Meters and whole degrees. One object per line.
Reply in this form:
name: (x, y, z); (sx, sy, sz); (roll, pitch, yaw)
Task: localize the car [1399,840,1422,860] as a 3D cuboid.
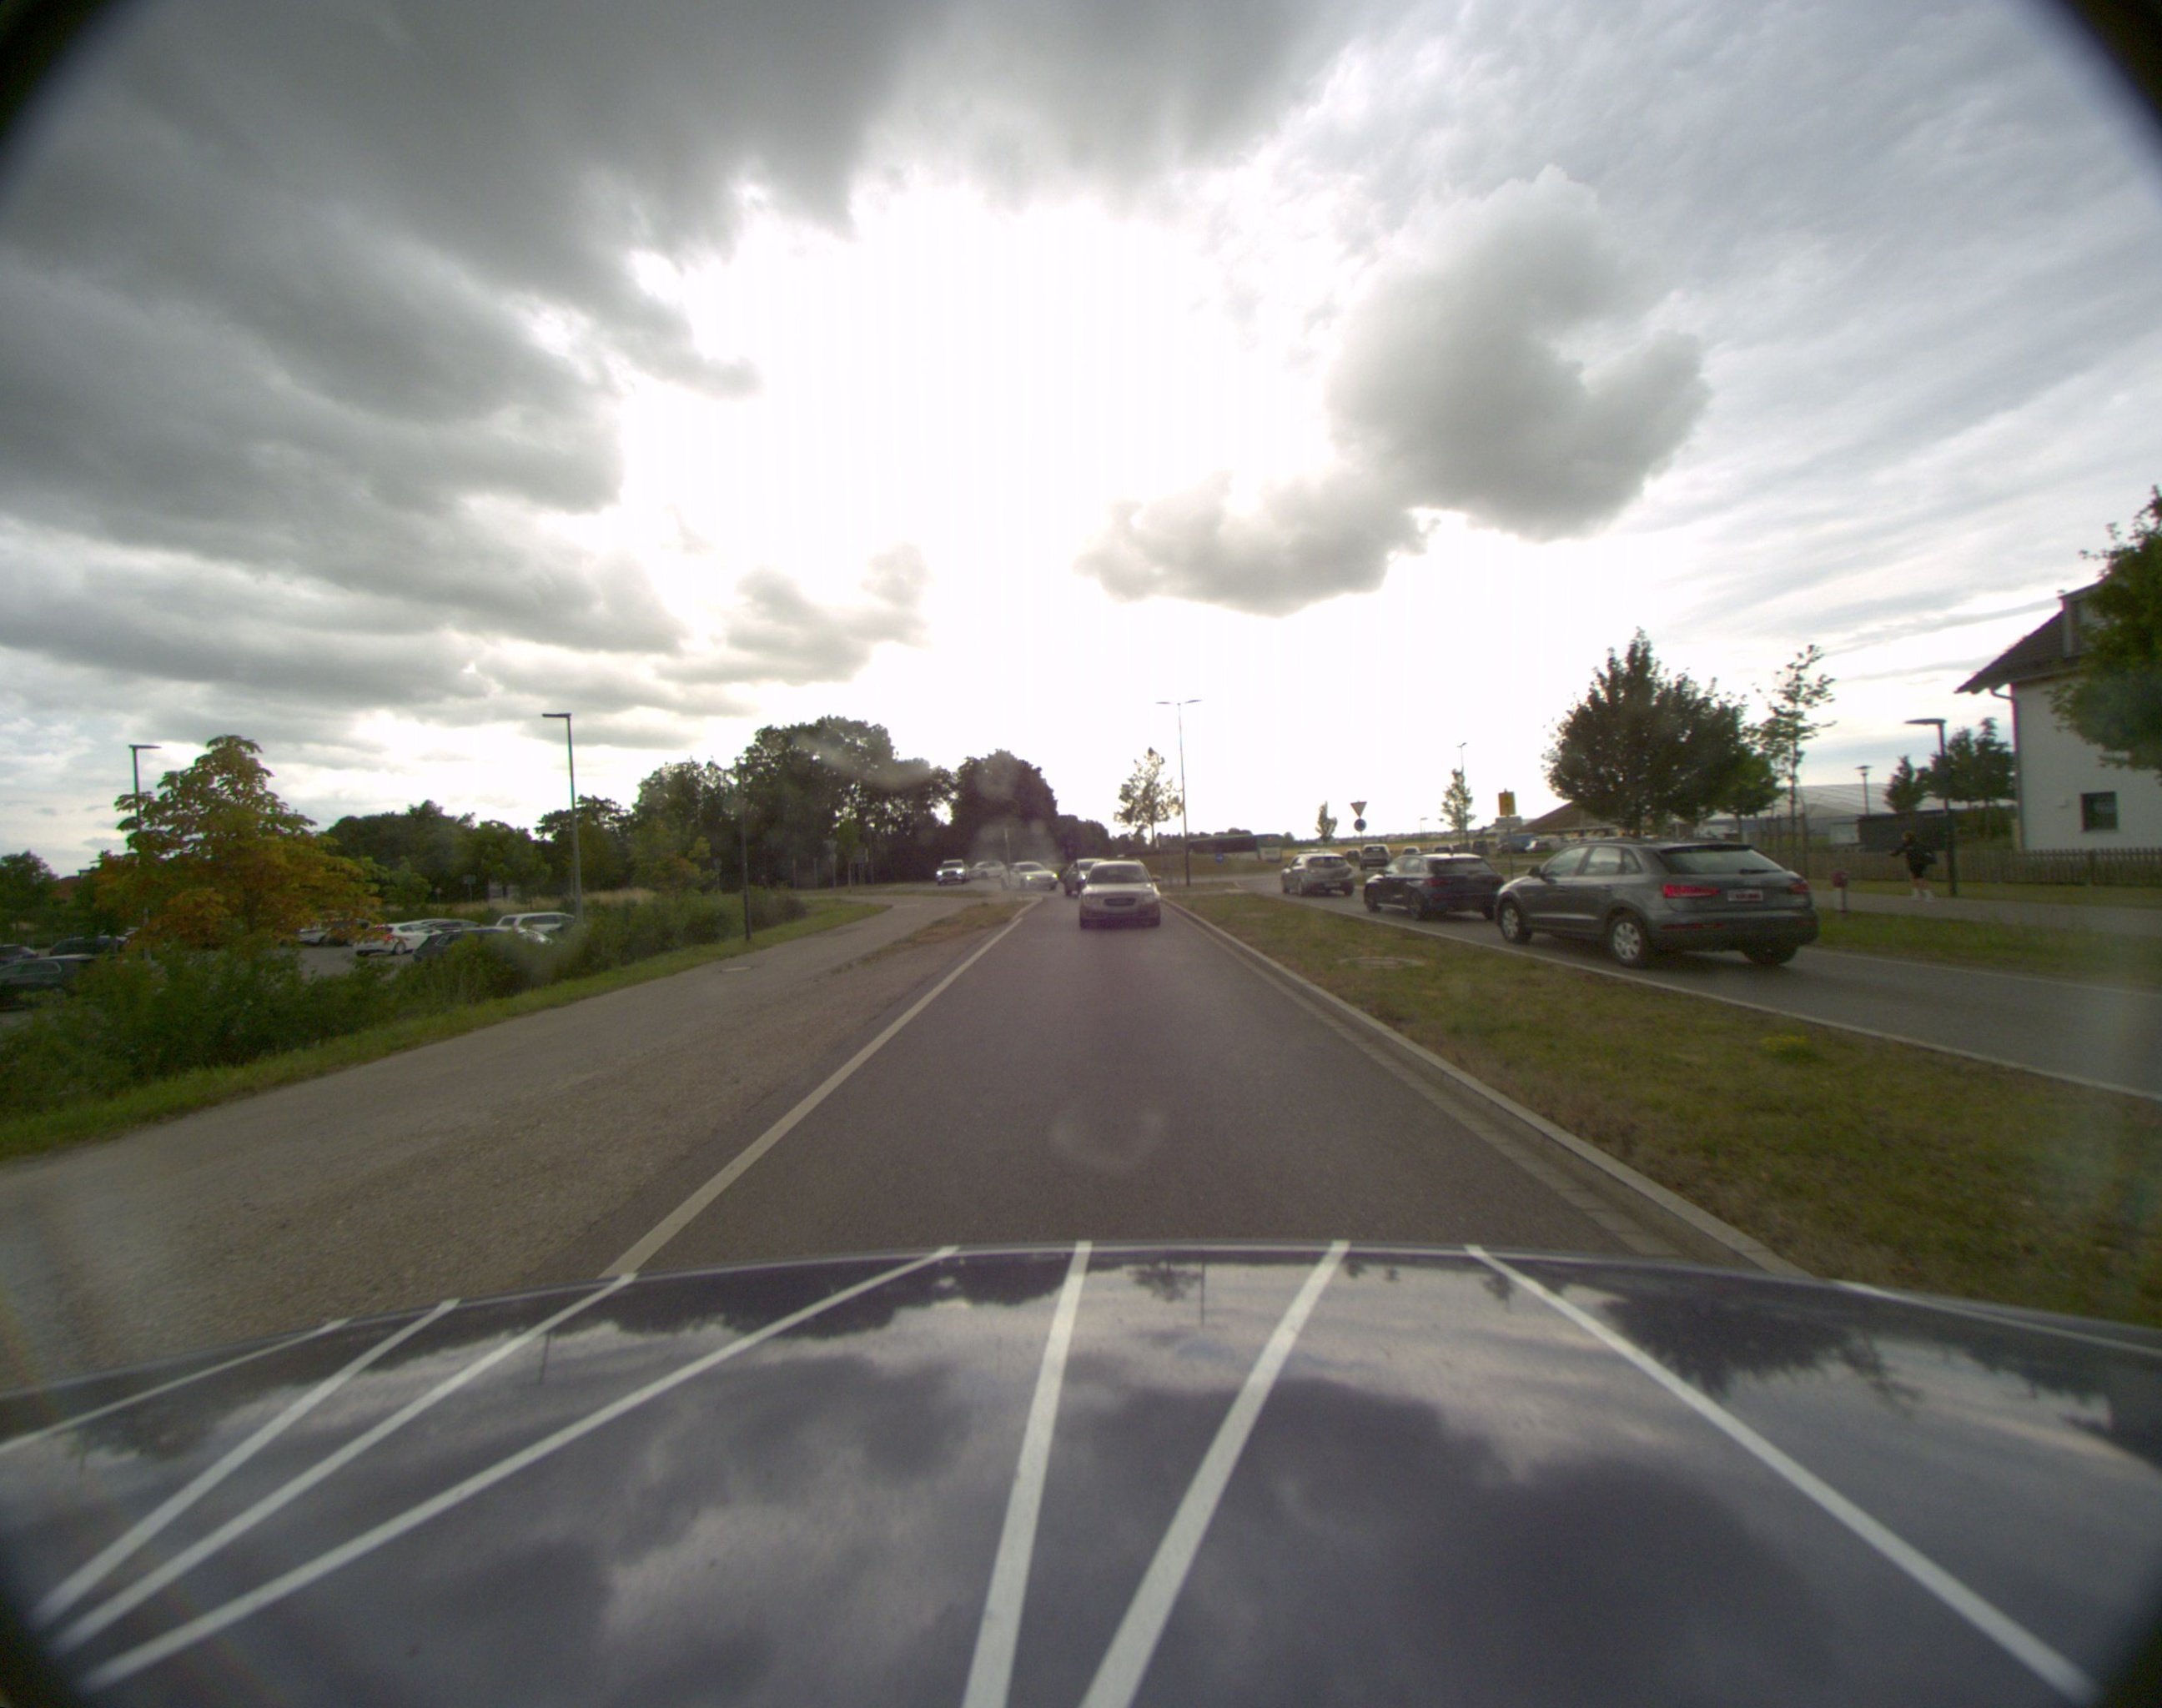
car: (34.825, -0.410, 80.230); (1.995, 2.002, 4.007); (-1, 0, 25)

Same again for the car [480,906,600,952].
car: (-25.420, 3.470, 35.847); (1.697, 1.707, 4.250); (-1, 0, 28)

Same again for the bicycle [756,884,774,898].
bicycle: (-21.301, 2.482, 51.182); (1.297, 0.956, 0.569); (-1, 0, 41)

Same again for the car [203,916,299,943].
car: (-55.382, 5.012, 50.765); (1.697, 1.352, 4.007); (-1, 0, 28)

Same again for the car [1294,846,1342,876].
car: (12.618, 0.334, 40.303); (1.827, 1.480, 4.344); (-1, 0, 26)

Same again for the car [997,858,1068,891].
car: (-2.581, 1.052, 39.500); (1.874, 1.533, 4.190); (-4, 1, -31)

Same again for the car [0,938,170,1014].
car: (-28.930, 3.480, 21.739); (3.390, 1.696, 1.802); (-5, 0, -1)

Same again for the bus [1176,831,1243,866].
bus: (12.604, -0.456, 74.840); (2.998, 3.261, 6.687); (-2, 0, -28)

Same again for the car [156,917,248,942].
car: (-62.942, 5.398, 54.506); (1.697, 1.352, 4.007); (-1, 0, 28)

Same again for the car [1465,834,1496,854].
car: (40.329, -0.990, 76.815); (1.996, 2.002, 4.005); (-1, 0, 16)

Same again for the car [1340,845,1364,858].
car: (29.504, -0.269, 82.715); (1.995, 1.280, 4.007); (-1, 0, 25)

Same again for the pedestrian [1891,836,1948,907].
pedestrian: (18.739, 0.385, 16.991); (0.547, 1.521, 0.586); (-4, 0, 1)

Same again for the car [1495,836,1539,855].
car: (50.273, -0.968, 87.649); (4.001, 2.002, 1.998); (-1, 0, -12)

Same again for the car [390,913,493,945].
car: (-35.576, 4.138, 42.381); (1.697, 1.352, 4.007); (-1, 0, 28)

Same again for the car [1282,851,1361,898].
car: (8.314, 0.664, 26.625); (1.829, 1.480, 4.218); (-1, 0, 7)

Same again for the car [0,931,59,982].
car: (-48.301, 4.536, 33.608); (3.994, 2.002, 2.001); (-1, 0, 9)

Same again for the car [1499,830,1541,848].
car: (53.215, -1.820, 92.152); (4.001, 2.002, 1.998); (-1, 0, -12)

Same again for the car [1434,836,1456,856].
car: (37.568, -0.839, 78.427); (1.995, 2.002, 4.007); (-1, 0, 25)

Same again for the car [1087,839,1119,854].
car: (2.600, -0.839, 89.601); (1.995, 1.674, 4.008); (-1, 0, 33)

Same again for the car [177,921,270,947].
car: (-60.489, 5.621, 53.679); (1.697, 1.352, 4.007); (-1, 0, 28)

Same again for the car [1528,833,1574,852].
car: (52.321, -1.246, 84.659); (4.000, 2.002, 1.999); (-1, 0, -8)

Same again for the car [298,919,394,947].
car: (-46.634, 4.973, 48.278); (1.697, 1.352, 4.007); (-1, 0, 28)

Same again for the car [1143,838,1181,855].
car: (8.303, -0.752, 77.895); (1.994, 1.674, 4.008); (-1, 0, 38)

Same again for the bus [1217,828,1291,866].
bus: (15.606, -0.548, 68.948); (2.998, 3.261, 6.471); (-2, 0, -28)

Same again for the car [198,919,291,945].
car: (-57.407, 5.311, 52.213); (1.697, 1.352, 4.007); (-1, 0, 28)

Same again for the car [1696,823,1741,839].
car: (82.457, -2.956, 98.269); (4.568, 2.002, 1.998); (-1, 0, -12)

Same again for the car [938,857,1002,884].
car: (-7.610, 1.109, 51.904); (4.003, 1.674, 1.997); (-1, 0, -20)

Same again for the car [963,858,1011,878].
car: (-7.705, 1.170, 62.707); (1.995, 1.510, 3.778); (-1, 0, 32)

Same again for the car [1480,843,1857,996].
car: (7.393, 0.704, 10.237); (1.830, 1.573, 4.216); (-2, 0, 1)

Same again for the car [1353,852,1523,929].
car: (7.817, 0.728, 17.157); (1.830, 1.480, 4.350); (-1, 0, 1)

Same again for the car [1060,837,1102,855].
car: (0.009, -0.799, 77.929); (1.995, 1.794, 4.781); (-1, 0, 33)

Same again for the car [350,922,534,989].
car: (-18.927, 2.989, 22.636); (3.997, 1.696, 1.657); (-1, 0, -1)

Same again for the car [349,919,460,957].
car: (-32.312, 3.983, 36.452); (1.844, 1.352, 3.999); (-1, 0, -4)

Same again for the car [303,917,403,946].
car: (-43.880, 4.632, 45.888); (1.697, 1.352, 4.007); (-1, 0, 28)

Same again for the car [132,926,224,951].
car: (-65.832, 6.098, 55.445); (1.697, 1.352, 4.007); (-1, 0, 28)

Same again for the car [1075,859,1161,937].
car: (0.887, 0.924, 17.582); (1.700, 1.458, 4.001); (-2, 1, 4)

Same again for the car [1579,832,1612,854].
car: (50.195, -1.084, 74.189); (2.227, 2.002, 4.007); (-1, 0, 29)

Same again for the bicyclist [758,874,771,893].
bicyclist: (-21.318, 1.964, 51.188); (0.657, 1.236, 0.556); (-1, 0, 41)

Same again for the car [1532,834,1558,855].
car: (46.848, -0.993, 76.712); (1.995, 2.002, 4.007); (-1, 0, 29)

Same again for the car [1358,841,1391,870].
car: (19.245, 0.061, 49.715); (1.827, 1.712, 4.405); (-1, 1, 23)

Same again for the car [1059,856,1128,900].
car: (0.407, 0.939, 31.752); (1.871, 1.578, 5.058); (-3, 1, -10)

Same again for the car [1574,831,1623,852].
car: (54.835, -1.319, 80.546); (4.001, 2.002, 1.998); (-1, 0, -12)

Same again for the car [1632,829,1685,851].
car: (56.792, -1.382, 74.726); (4.001, 2.002, 1.998); (-1, 0, -12)
